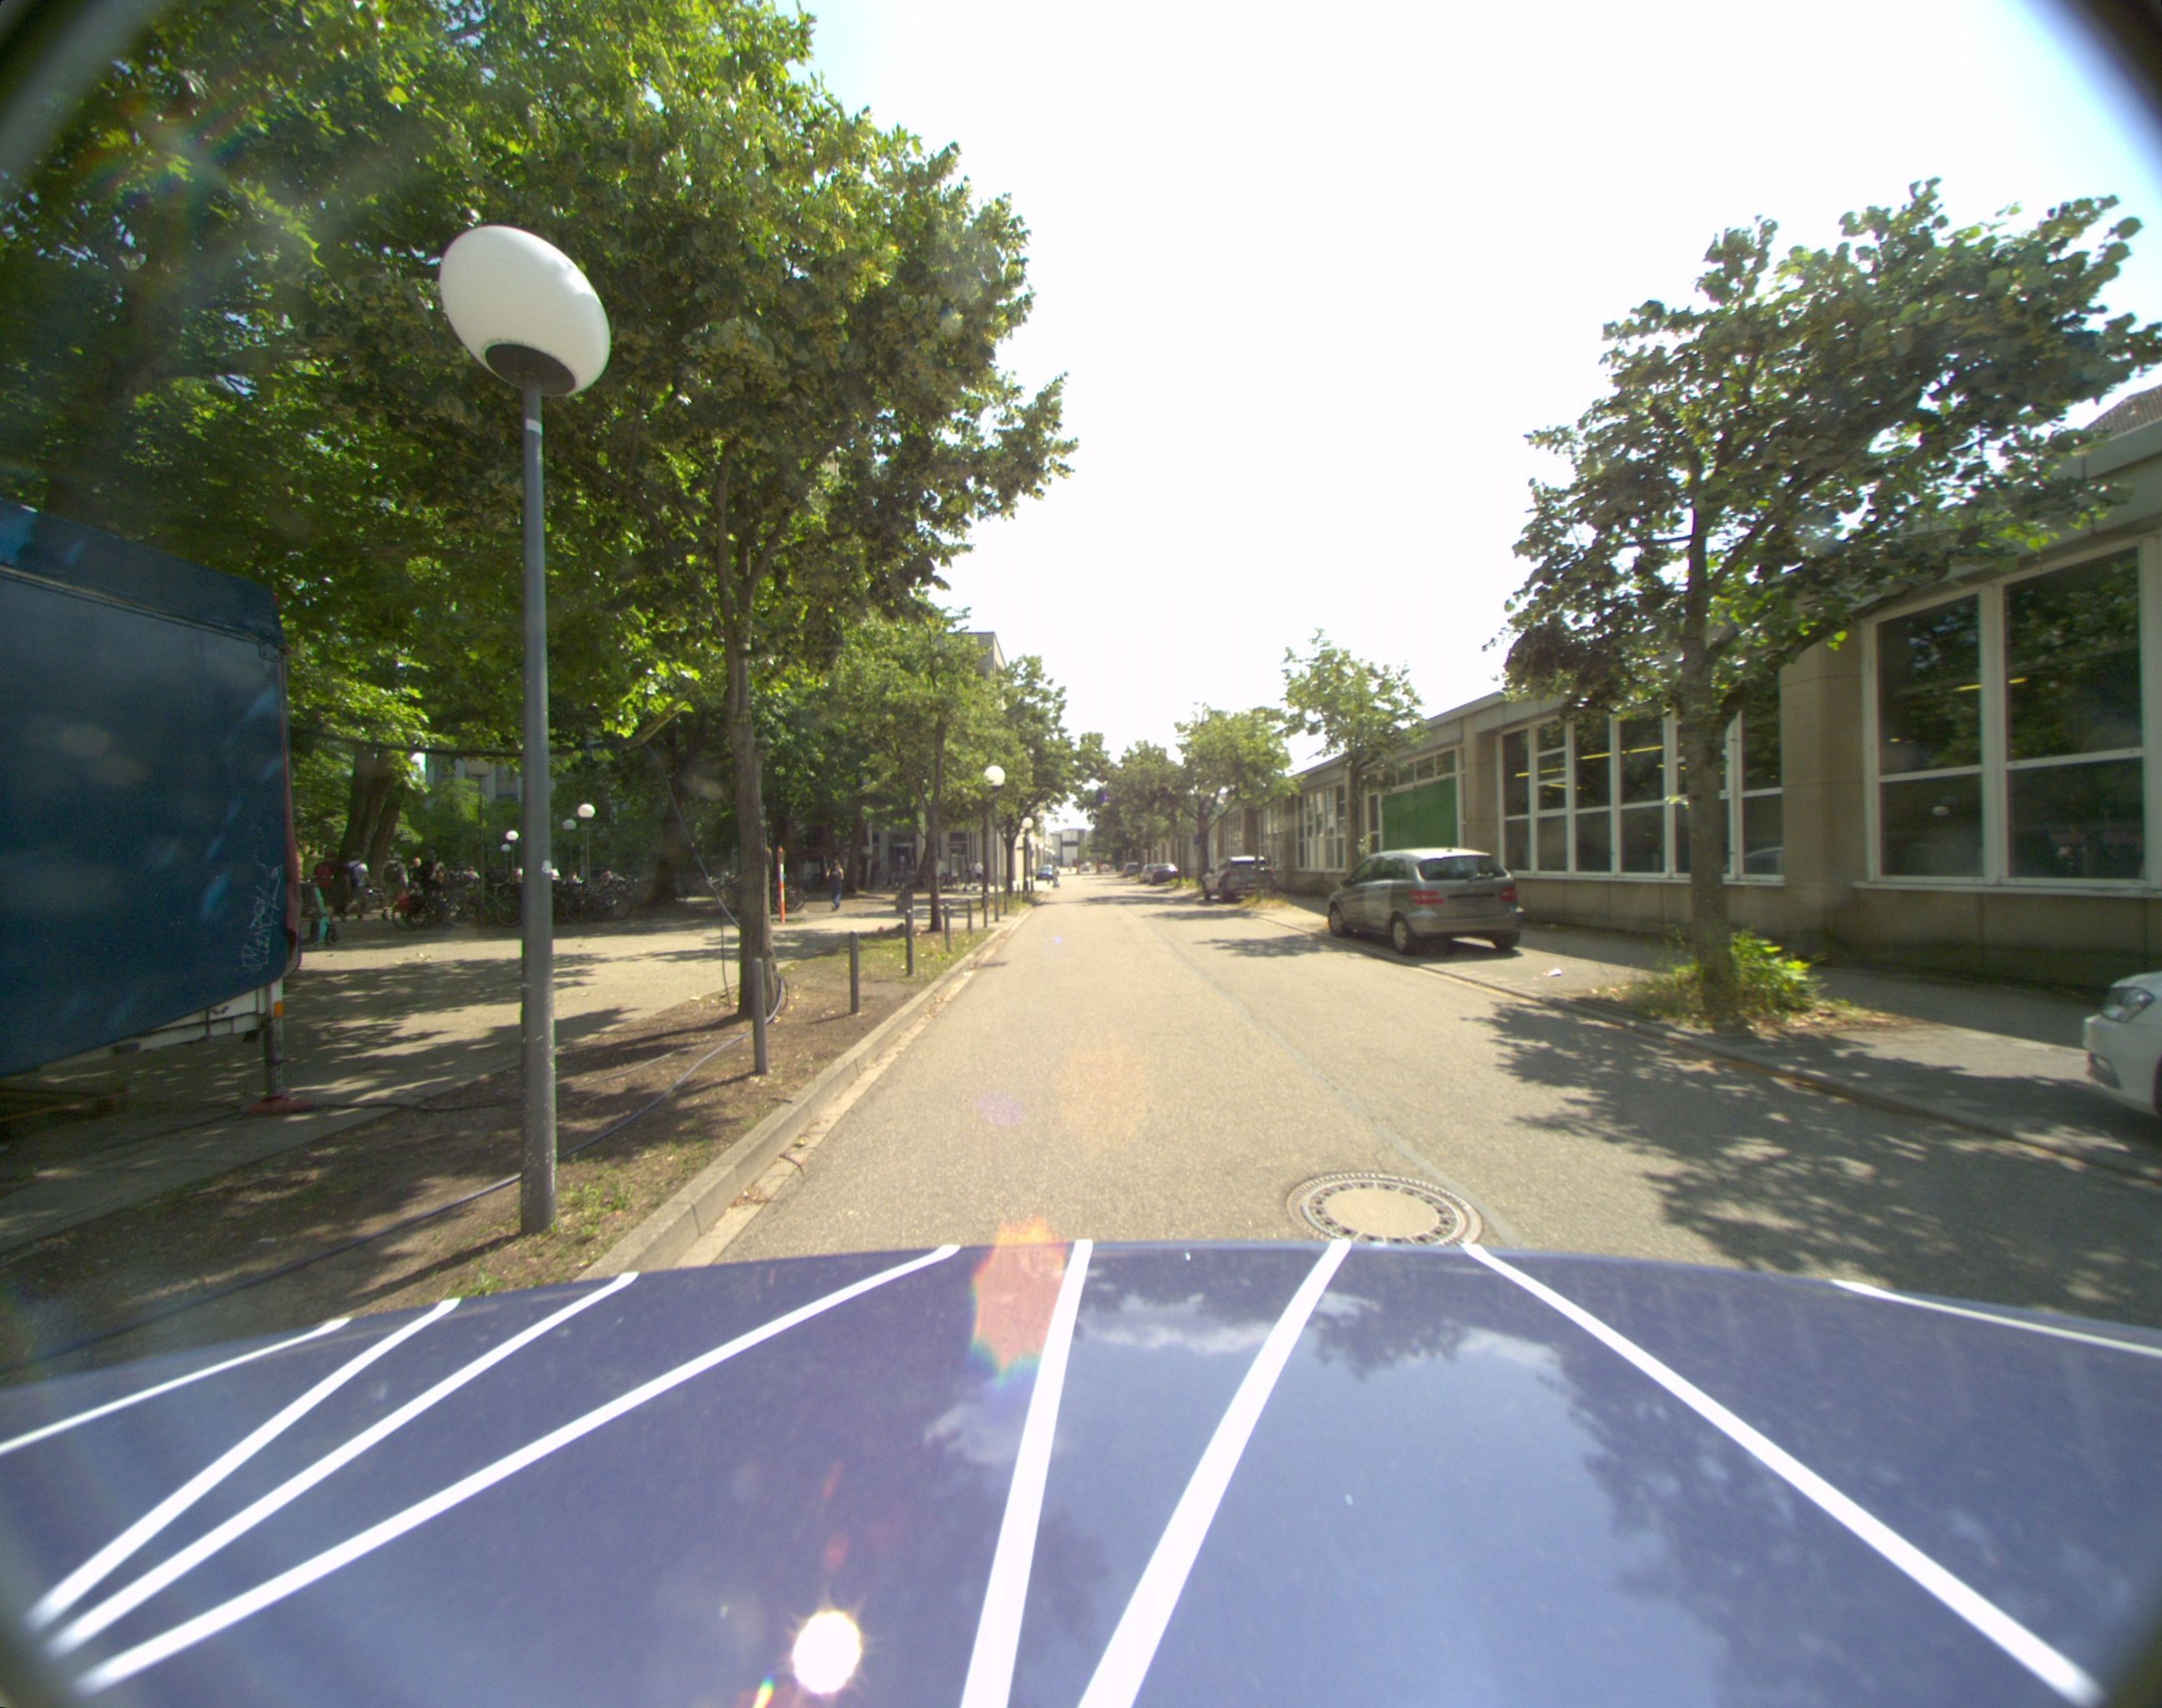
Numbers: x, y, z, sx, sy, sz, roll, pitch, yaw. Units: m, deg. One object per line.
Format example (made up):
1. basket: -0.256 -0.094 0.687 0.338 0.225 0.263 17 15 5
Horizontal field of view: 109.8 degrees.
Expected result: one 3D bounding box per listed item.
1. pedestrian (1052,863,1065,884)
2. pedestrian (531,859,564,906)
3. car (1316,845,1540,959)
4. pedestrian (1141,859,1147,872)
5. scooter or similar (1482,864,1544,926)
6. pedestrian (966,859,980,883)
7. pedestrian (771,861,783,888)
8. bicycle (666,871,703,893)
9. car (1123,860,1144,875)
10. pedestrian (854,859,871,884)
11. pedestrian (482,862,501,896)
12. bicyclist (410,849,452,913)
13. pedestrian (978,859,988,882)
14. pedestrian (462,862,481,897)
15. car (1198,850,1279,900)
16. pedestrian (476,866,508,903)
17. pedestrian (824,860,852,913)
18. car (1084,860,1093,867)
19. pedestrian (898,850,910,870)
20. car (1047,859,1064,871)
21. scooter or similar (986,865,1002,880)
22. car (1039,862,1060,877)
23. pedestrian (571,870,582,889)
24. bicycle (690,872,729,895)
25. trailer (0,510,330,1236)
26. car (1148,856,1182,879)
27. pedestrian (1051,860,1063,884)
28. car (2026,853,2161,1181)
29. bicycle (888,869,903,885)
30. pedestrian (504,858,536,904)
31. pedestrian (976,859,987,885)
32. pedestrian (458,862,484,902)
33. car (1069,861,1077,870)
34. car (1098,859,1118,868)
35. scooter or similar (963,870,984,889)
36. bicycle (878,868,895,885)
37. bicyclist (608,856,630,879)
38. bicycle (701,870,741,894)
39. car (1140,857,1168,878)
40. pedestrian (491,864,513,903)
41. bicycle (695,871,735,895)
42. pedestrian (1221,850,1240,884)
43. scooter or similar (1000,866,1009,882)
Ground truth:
1. pedestrian: -1.623 1.394 54.512 0.797 1.532 0.664 -1 0 -7
2. pedestrian: -20.615 1.088 29.385 0.744 1.764 0.721 -1 -1 -2
3. car: 5.636 0.698 12.983 1.762 1.547 4.112 -3 0 -2
4. pedestrian: 7.268 1.326 87.972 0.605 1.571 0.551 1 -1 -3
5. scooter or similar: 8.657 0.807 15.265 0.506 1.162 1.215 -3 0 0
6. pedestrian: -8.130 1.262 57.211 0.811 1.786 0.618 -1 1 -44
7. pedestrian: -19.702 1.343 49.275 0.428 1.693 0.944 -3 0 -4
8. bicycle: -22.731 1.599 43.573 1.849 1.163 0.345 0 -1 -45
9. car: 5.515 1.380 79.877 1.803 1.440 3.676 -4 0 -1
10. pedestrian: -15.255 1.236 53.165 0.937 1.730 0.749 -2 0 -3
11. pedestrian: -30.890 1.308 39.820 0.746 1.764 0.719 0 -1 -40
12. bicyclist: -17.962 0.742 21.012 0.532 1.719 1.077 1 0 -20
13. pedestrian: -7.369 1.269 57.248 0.614 1.719 0.542 -1 0 1
14. pedestrian: -31.513 1.315 39.286 0.746 1.764 0.719 0 -1 -40
15. car: 5.805 0.730 28.501 1.827 1.623 4.516 -3 0 -3
16. pedestrian: -28.354 1.469 36.600 0.964 1.764 0.971 -1 -1 -22
17. pedestrian: -7.587 1.006 23.751 0.570 1.563 0.927 0 3 1
18. car: 1.613 2.098 170.065 1.803 1.440 3.676 -4 0 -1
19. pedestrian: -15.643 0.555 67.304 0.618 1.786 0.811 -1 1 32
20. car: -3.033 1.292 90.805 1.843 1.389 3.878 0 -1 0
21. scooter or similar: -7.663 1.626 66.864 0.566 1.205 1.506 -3 3 -40
22. car: -3.104 1.545 75.217 1.843 1.389 3.878 0 -1 0
23. pedestrian: -33.720 1.707 50.785 0.402 1.205 0.387 -1 -1 8
24. bicycle: -19.974 1.584 40.845 1.849 1.163 0.412 0 -1 -39
25. trailer: -5.832 0.070 1.427 2.699 3.033 6.256 0 0 -1
26. car: 5.704 0.945 52.071 1.730 1.426 4.290 -3 -1 -1
27. pedestrian: -1.721 1.329 55.242 0.797 1.718 0.601 -1 0 -7
28. car: 5.766 0.700 1.599 1.730 1.448 4.582 -3 0 -2
29. bicycle: -12.025 1.494 49.207 0.481 1.079 1.516 0 -2 5
30. pedestrian: -21.960 1.041 29.748 0.745 1.764 0.720 -1 -1 -8
31. pedestrian: -7.377 1.327 56.198 0.687 1.880 0.686 -2 1 -3
32. pedestrian: -27.376 1.239 34.121 0.745 1.764 0.719 -1 -1 -23
33. car: -1.907 2.772 182.679 1.998 2.001 4.001 2 -1 0
34. car: 5.256 1.866 149.847 3.674 1.440 1.804 -4 0 -2
35. scooter or similar: -6.100 1.449 43.163 0.496 1.107 1.365 -1 -2 25
36. bicycle: -12.517 1.437 48.920 0.481 1.079 1.697 0 -2 5
37. bicyclist: -33.148 0.994 54.547 0.959 1.533 0.838 5 -3 -2
38. bicycle: -18.639 1.451 39.367 1.849 1.163 0.387 0 -1 -39
39. car: 5.545 0.982 57.775 1.634 1.440 3.752 -4 0 -1
40. pedestrian: -26.749 1.340 35.110 0.746 1.764 0.719 0 -1 -31
41. bicycle: -19.148 1.511 39.745 1.849 1.163 0.412 0 -1 -39
42. pedestrian: 7.912 0.678 40.196 0.790 1.776 0.670 -3 -1 3
43. scooter or similar: -5.948 1.541 59.124 0.564 1.204 1.510 1 0 -1
